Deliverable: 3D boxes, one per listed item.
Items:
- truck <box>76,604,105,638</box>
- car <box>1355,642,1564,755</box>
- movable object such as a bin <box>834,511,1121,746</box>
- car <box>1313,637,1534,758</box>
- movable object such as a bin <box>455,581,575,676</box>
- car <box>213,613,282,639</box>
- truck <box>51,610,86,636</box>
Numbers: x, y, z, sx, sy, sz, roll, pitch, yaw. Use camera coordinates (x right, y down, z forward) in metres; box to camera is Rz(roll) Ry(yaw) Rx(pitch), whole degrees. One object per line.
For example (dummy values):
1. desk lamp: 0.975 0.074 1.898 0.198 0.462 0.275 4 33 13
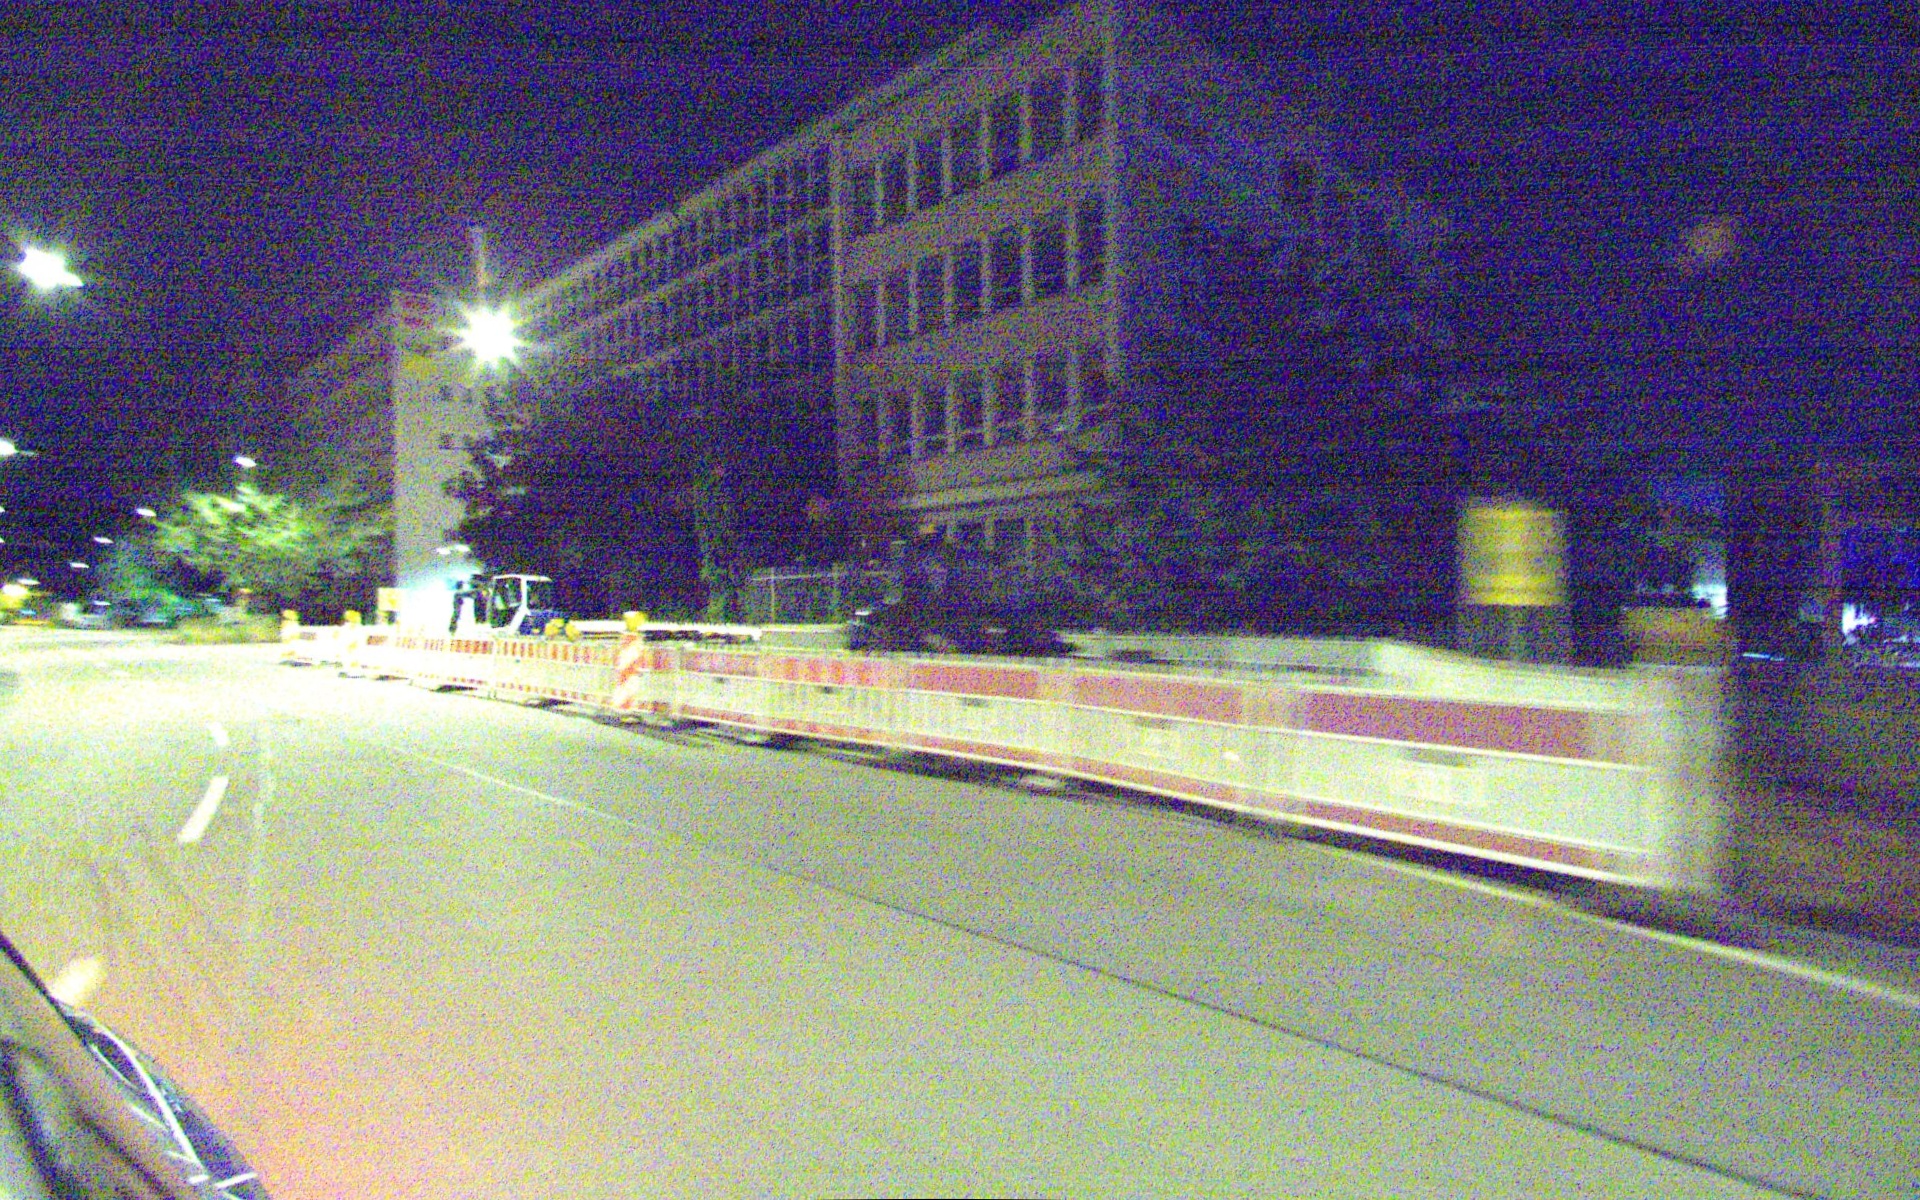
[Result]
1. truck: -114.076 2.705 132.679 2.606 4.347 12.840 2 -2 -42
2. car: 13.063 2.475 26.696 1.969 2.574 4.490 -2 0 -40
3. movable object such as a bin: 0.165 0.412 13.654 3.697 2.755 1.555 -2 -4 39
4. car: 11.304 2.257 24.940 1.969 2.574 4.490 -2 0 -40
5. movable object such as a bin: -12.180 0.753 27.724 2.823 2.486 1.540 0 -1 25
6. car: -58.787 2.140 83.515 2.001 1.987 4.381 -2 0 45
7. truck: -134.086 3.464 152.180 10.399 3.659 2.791 -2 0 42
